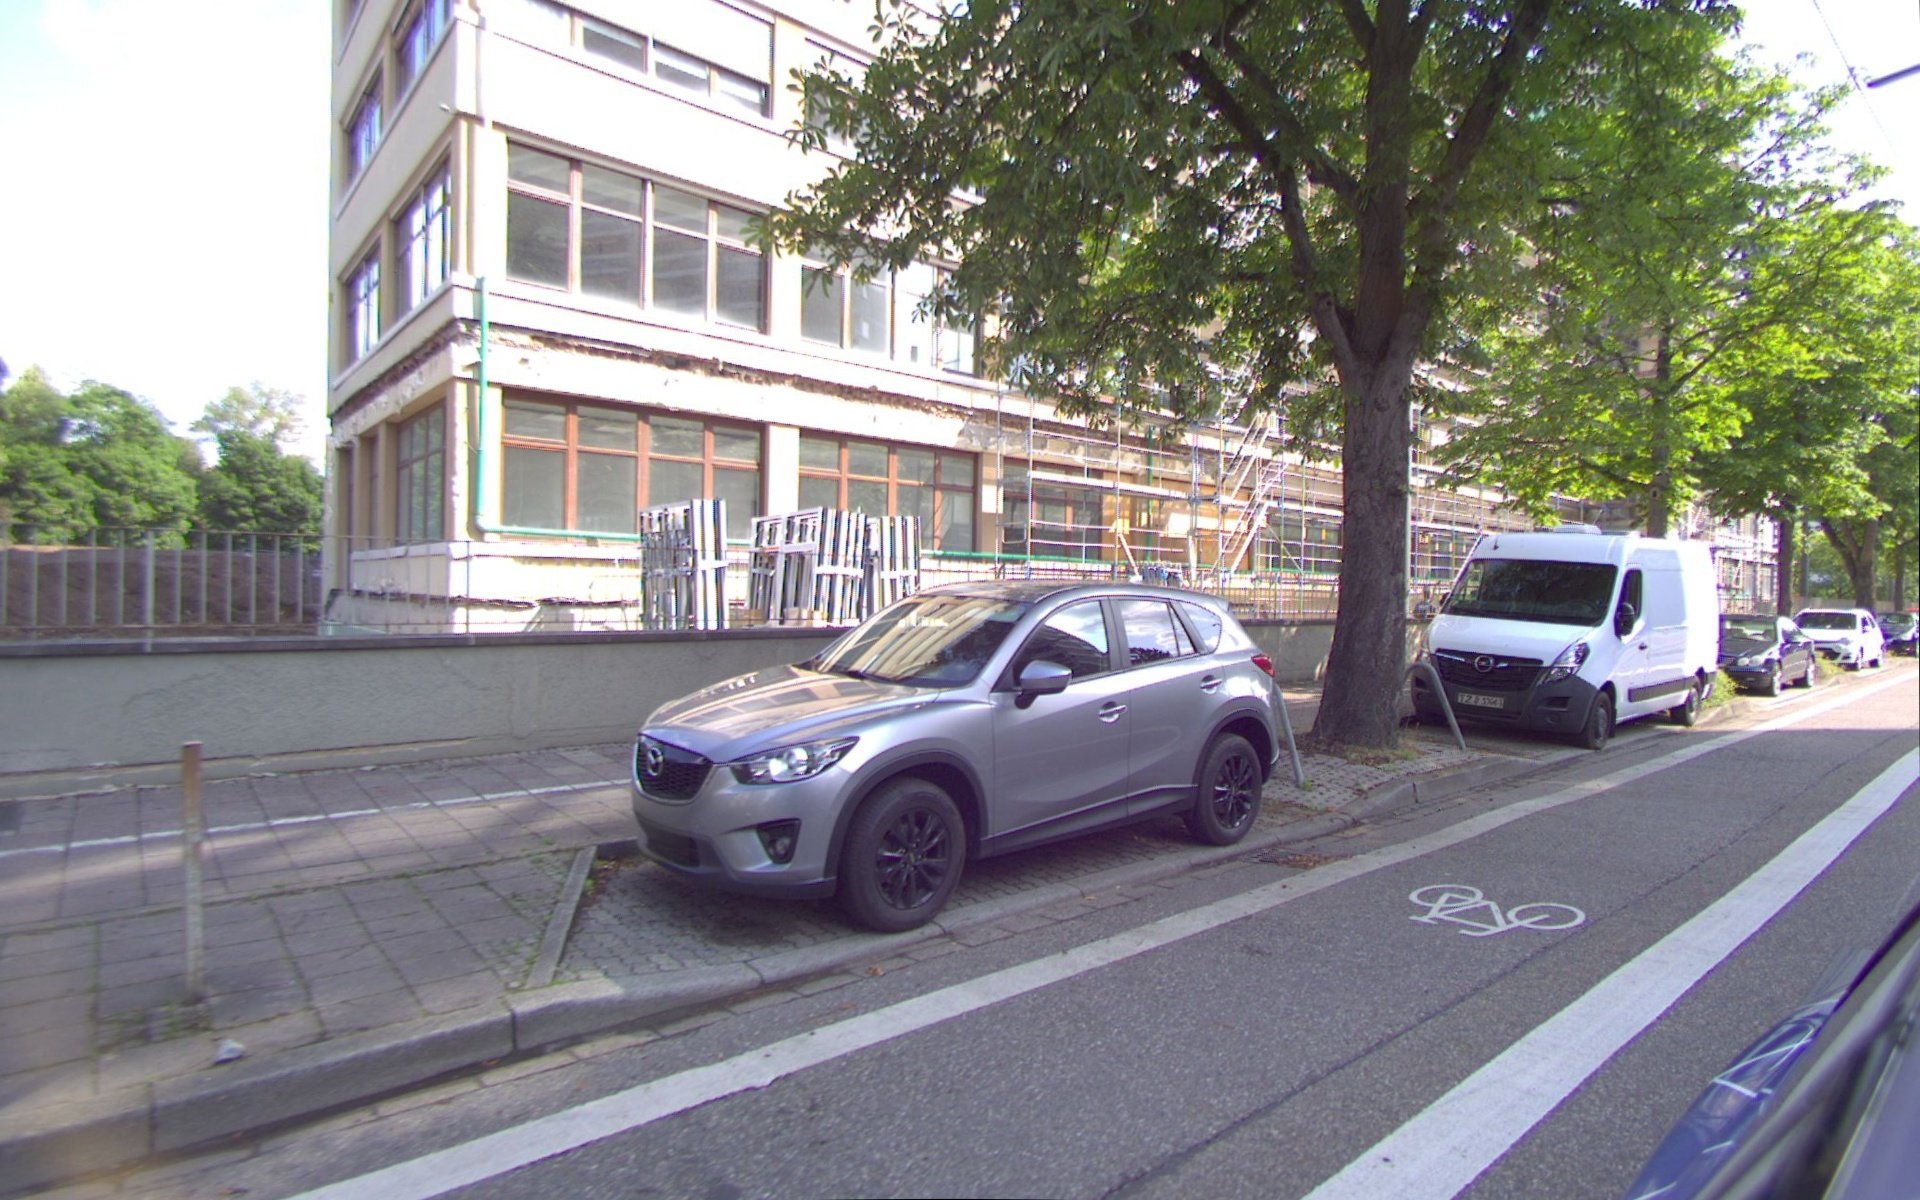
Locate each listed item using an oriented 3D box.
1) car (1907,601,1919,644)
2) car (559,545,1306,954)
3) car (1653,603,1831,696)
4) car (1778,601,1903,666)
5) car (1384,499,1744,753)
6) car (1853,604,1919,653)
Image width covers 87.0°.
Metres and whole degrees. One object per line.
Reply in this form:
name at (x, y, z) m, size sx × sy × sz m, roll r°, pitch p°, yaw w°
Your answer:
car at (37.575, 0.848, 38.771) m, size 3.584 × 1.594 × 1.531 m, roll 0°, pitch 0°, yaw -41°
car at (0.113, 0.594, 6.134) m, size 4.380 × 1.627 × 1.769 m, roll 1°, pitch 1°, yaw -41°
car at (14.740, 0.837, 18.990) m, size 4.429 × 1.388 × 1.738 m, roll 0°, pitch 4°, yaw -41°
car at (21.902, 0.766, 25.138) m, size 3.823 × 1.475 × 1.569 m, roll 0°, pitch 0°, yaw -37°
car at (7.952, 0.179, 13.017) m, size 5.815 × 2.598 × 2.128 m, roll 0°, pitch 4°, yaw -41°
car at (29.535, 0.851, 31.830) m, size 3.567 × 1.416 × 1.735 m, roll 0°, pitch 0°, yaw -41°
